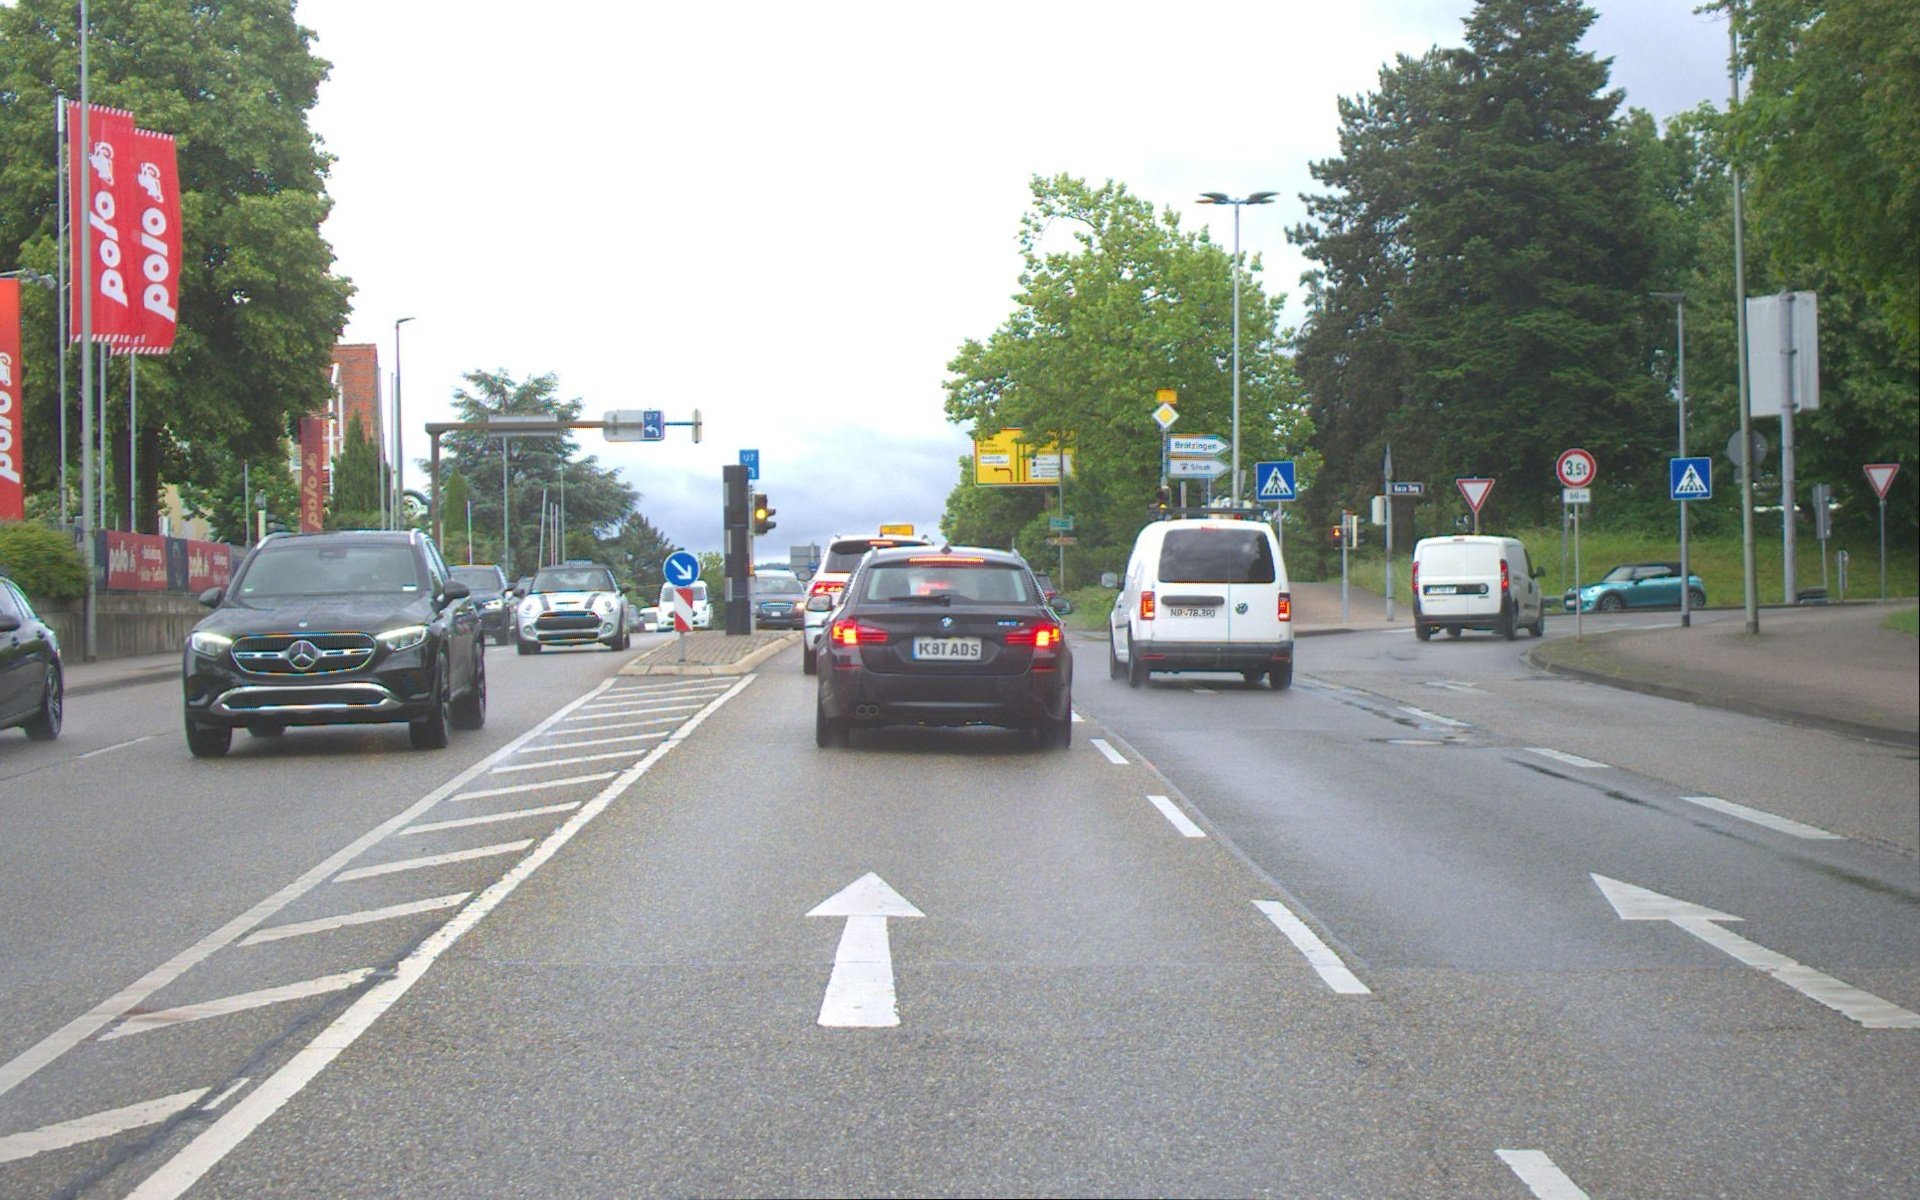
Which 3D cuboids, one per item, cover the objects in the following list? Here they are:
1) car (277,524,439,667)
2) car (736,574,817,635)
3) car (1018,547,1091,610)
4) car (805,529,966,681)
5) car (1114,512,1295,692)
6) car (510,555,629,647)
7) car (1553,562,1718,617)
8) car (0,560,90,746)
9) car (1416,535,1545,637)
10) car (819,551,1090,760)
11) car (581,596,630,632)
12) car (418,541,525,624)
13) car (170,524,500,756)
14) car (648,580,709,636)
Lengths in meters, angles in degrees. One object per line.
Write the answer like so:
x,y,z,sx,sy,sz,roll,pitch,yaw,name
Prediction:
-8.922,-0.101,51.279,1.795,1.976,4.899,-2,1,-4,car
-4.553,0.109,84.896,1.894,1.451,4.098,-1,0,-4,car
2.205,-0.524,80.773,1.600,1.367,3.680,-1,2,0,car
-0.862,0.025,41.429,1.728,1.705,3.382,1,2,2,car
2.643,-0.003,37.933,1.741,1.863,3.946,1,1,1,car
-6.339,-0.004,56.128,1.667,1.393,4.001,-2,1,-3,car
17.932,-0.294,91.275,3.986,1.289,1.609,-2,1,-19,car
-8.283,0.431,27.044,1.793,1.397,4.300,-2,1,-1,car
9.335,-0.270,61.458,1.815,1.702,3.943,0,2,15,car
0.006,0.352,25.726,1.855,1.414,3.957,1,1,1,car
-14.180,0.548,137.635,1.668,1.377,4.072,-1,1,-2,car
-10.119,-0.386,71.493,1.751,1.605,4.533,-2,1,-3,car
-4.745,0.251,26.661,1.822,1.602,4.284,-2,1,-1,car
-9.625,0.265,117.752,1.857,1.817,4.580,-2,0,-3,car
